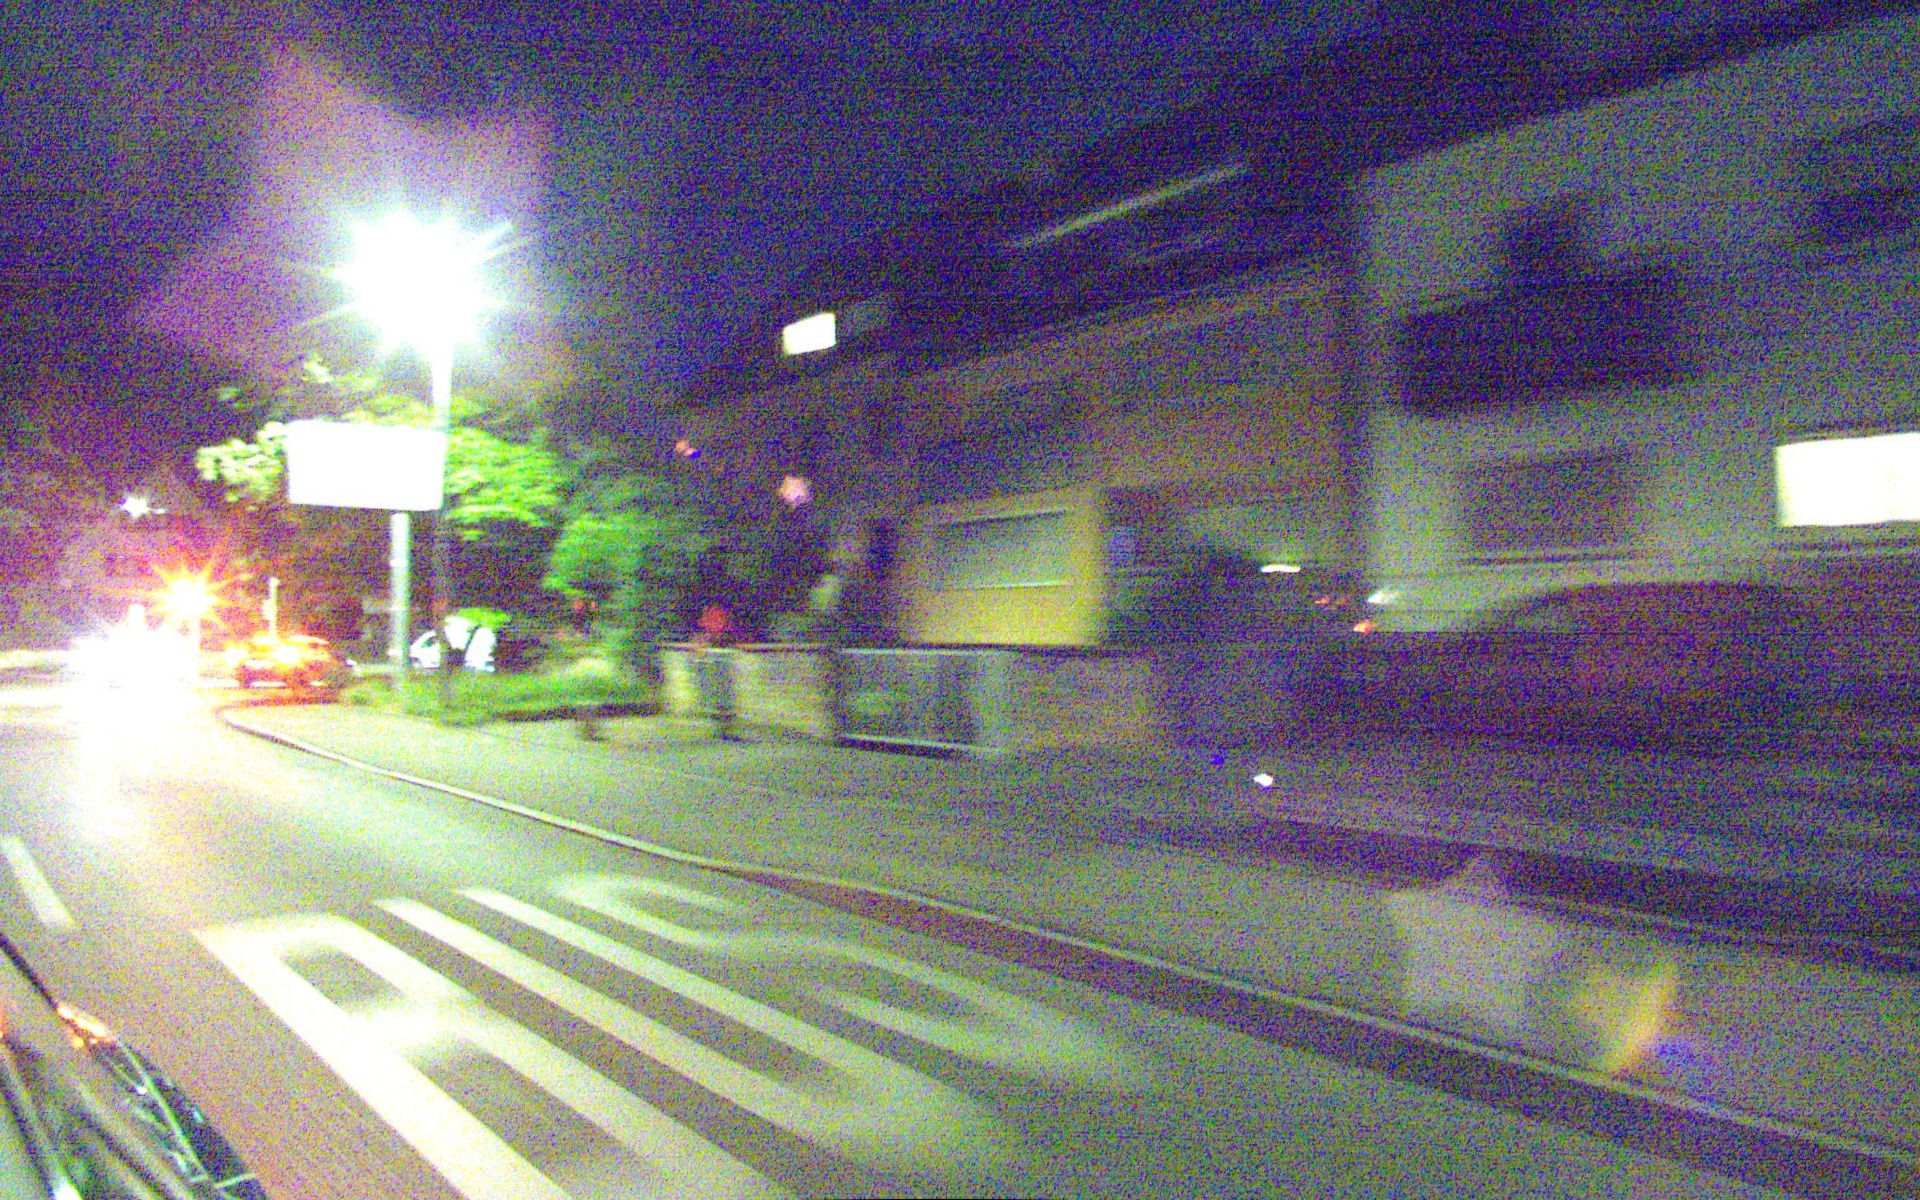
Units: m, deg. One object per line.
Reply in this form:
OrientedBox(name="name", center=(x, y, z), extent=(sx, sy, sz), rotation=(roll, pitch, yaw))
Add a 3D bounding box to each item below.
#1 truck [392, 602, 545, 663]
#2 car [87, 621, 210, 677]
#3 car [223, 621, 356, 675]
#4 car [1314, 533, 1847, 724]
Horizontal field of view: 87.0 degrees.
OrientedBox(name="truck", center=(-26.502, 1.722, 54.846), extent=(6.933, 3.067, 2.774), rotation=(1, 0, -2))
OrientedBox(name="car", center=(-23.214, 1.434, 29.081), extent=(1.489, 1.513, 3.057), rotation=(1, -4, -12))
OrientedBox(name="car", center=(-19.584, 1.478, 29.808), extent=(1.703, 1.441, 4.299), rotation=(0, -5, -11))
OrientedBox(name="car", center=(5.815, 0.259, 9.856), extent=(1.707, 1.470, 4.123), rotation=(-1, -1, -45))
